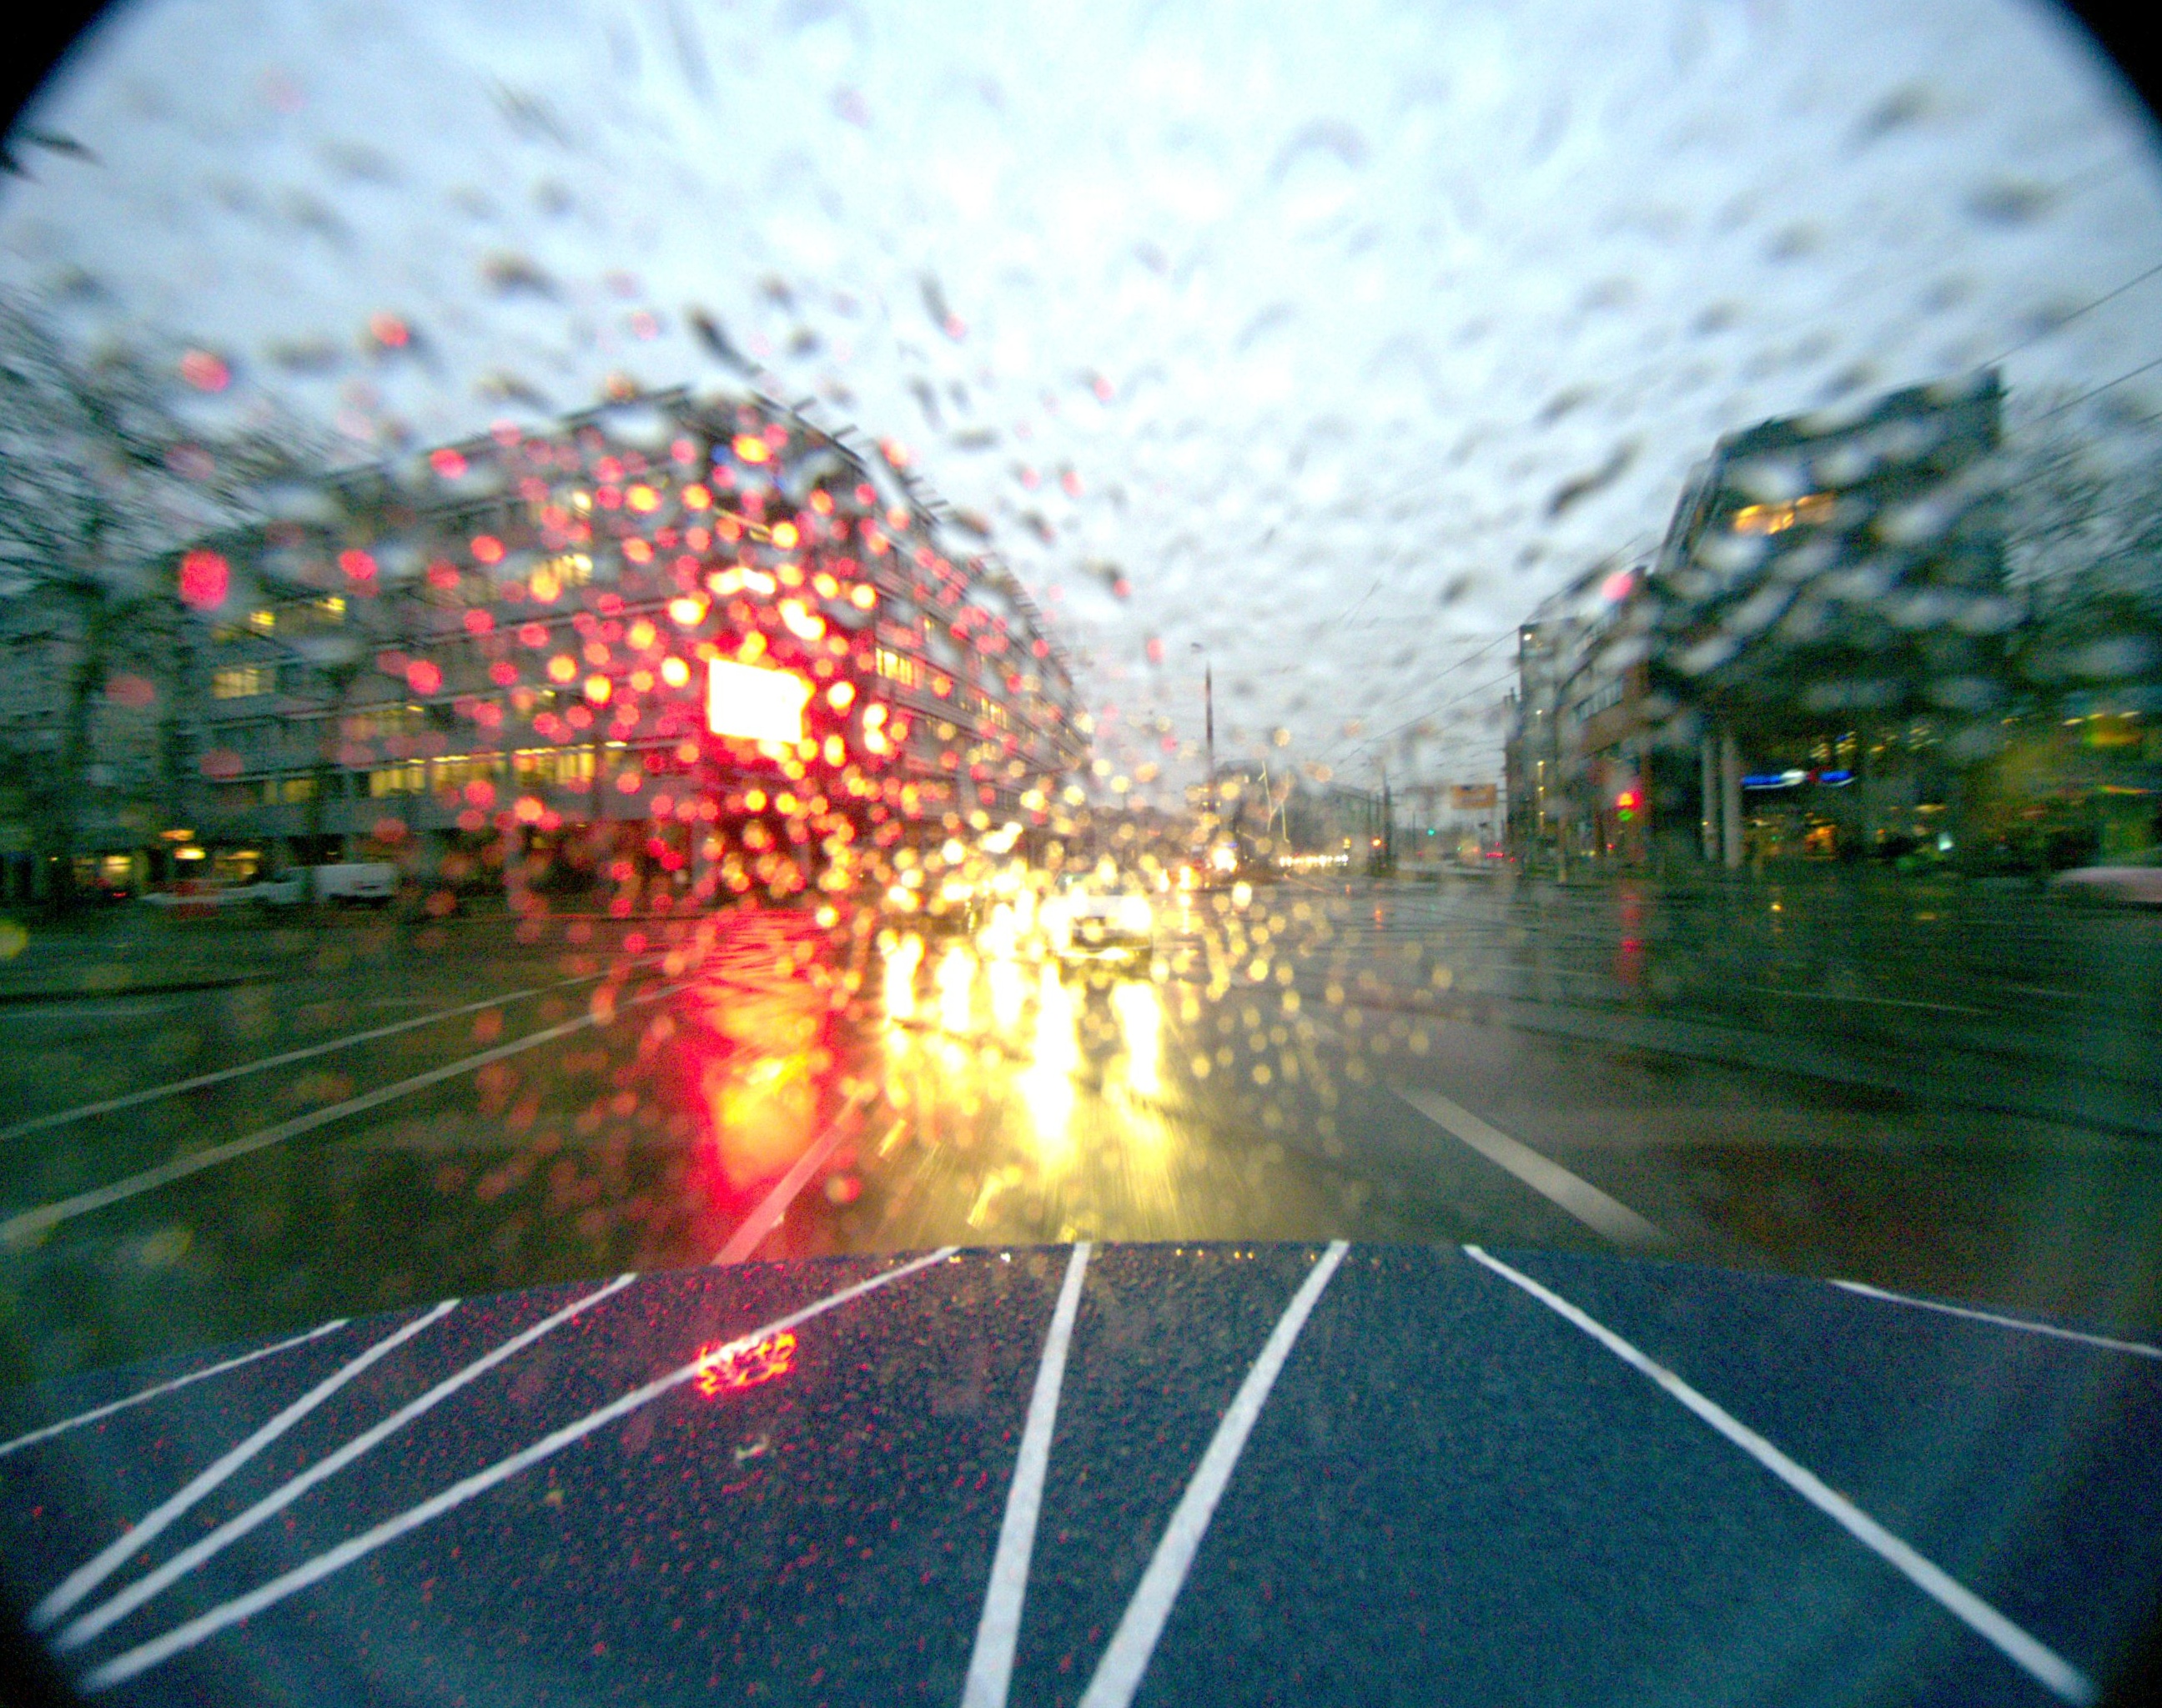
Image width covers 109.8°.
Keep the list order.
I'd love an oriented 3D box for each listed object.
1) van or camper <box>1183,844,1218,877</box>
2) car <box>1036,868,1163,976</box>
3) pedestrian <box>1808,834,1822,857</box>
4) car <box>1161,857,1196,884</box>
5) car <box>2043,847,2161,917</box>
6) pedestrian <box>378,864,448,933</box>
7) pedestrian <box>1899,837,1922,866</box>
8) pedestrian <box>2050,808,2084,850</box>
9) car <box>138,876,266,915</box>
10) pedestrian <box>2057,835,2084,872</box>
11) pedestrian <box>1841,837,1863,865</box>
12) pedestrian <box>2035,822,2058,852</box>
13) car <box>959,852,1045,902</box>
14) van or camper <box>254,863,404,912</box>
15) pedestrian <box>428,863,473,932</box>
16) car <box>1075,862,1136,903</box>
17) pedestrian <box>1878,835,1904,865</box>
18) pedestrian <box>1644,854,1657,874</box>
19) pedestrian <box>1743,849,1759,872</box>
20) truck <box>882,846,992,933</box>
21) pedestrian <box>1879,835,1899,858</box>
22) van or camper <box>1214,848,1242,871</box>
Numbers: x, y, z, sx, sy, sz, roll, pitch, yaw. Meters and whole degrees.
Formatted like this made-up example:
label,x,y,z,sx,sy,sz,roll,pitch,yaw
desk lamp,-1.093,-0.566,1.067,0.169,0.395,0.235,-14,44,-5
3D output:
label,x,y,z,sx,sy,sz,roll,pitch,yaw
van or camper,9.993,0.465,63.213,2.059,2.533,5.892,-3,0,15
car,0.381,1.027,13.123,1.773,1.449,4.223,-3,-1,3
pedestrian,53.430,-0.608,55.314,0.692,1.698,0.928,-1,0,42
car,6.183,1.018,47.868,1.682,1.563,3.765,-1,0,15
car,23.835,0.590,16.146,1.671,1.486,4.202,-1,0,5
pedestrian,-18.099,1.183,20.601,0.776,1.776,1.153,-1,0,12
pedestrian,50.352,-0.139,46.131,0.726,1.698,0.695,-1,0,23
pedestrian,47.342,-1.182,36.493,0.707,2.002,0.758,-1,1,-10
car,-37.925,1.762,32.827,3.839,1.519,1.644,-2,0,5
pedestrian,45.538,-0.009,34.983,0.562,1.674,0.596,-1,0,-20
pedestrian,47.151,-0.180,46.486,0.740,1.646,0.695,-1,0,23
pedestrian,56.291,-0.987,44.306,0.653,1.740,0.446,-1,0,14
car,-3.087,0.874,30.701,1.907,1.808,4.694,-3,-1,13
van or camper,-31.948,1.401,32.337,4.742,1.917,1.842,-2,0,5
pedestrian,-17.028,1.150,20.550,0.801,1.800,0.649,-1,0,-30
car,1.015,1.049,29.289,1.772,1.449,4.225,0,0,9
pedestrian,49.448,-0.249,46.406,0.773,1.835,0.924,-1,0,25
pedestrian,35.733,0.641,47.662,0.445,1.257,0.496,-3,0,9
pedestrian,45.720,0.439,51.863,0.651,1.494,0.695,-1,0,23
truck,-3.476,0.818,19.219,1.909,1.905,4.617,-1,-1,-1
pedestrian,51.619,-0.471,48.534,0.651,1.494,0.695,-1,0,23
van or camper,15.891,0.597,81.740,2.183,2.338,5.657,-3,-1,18
